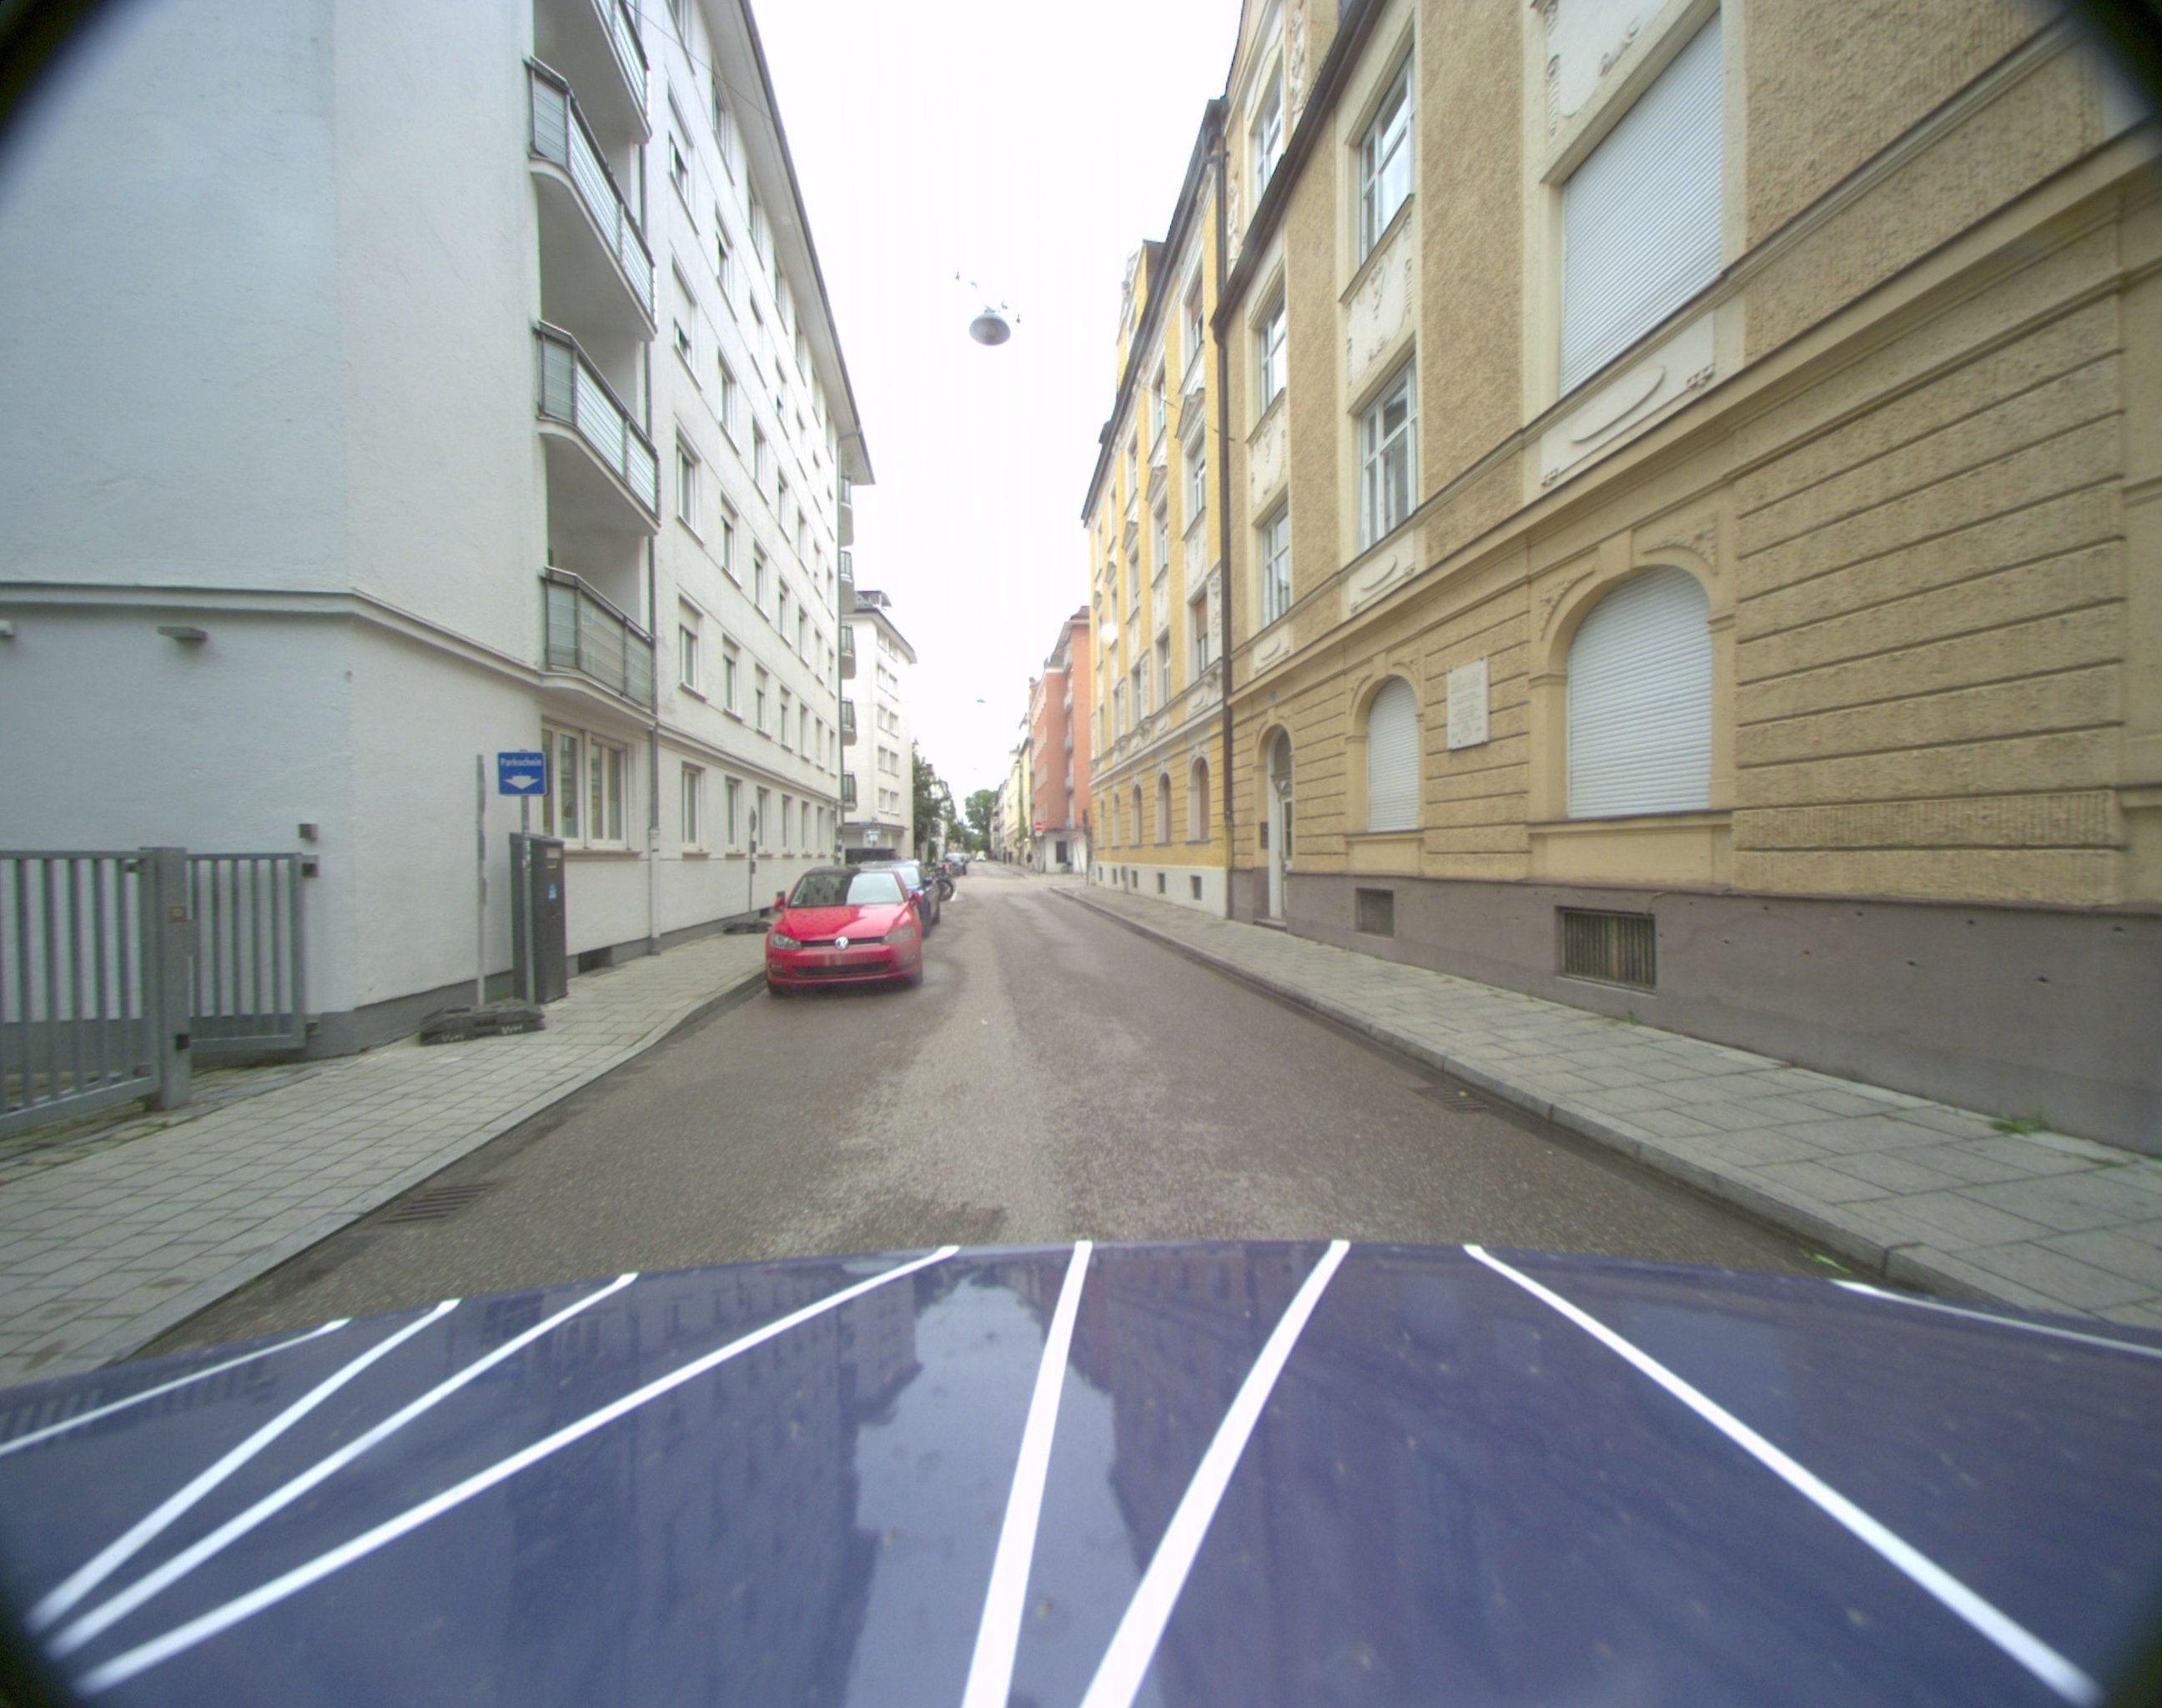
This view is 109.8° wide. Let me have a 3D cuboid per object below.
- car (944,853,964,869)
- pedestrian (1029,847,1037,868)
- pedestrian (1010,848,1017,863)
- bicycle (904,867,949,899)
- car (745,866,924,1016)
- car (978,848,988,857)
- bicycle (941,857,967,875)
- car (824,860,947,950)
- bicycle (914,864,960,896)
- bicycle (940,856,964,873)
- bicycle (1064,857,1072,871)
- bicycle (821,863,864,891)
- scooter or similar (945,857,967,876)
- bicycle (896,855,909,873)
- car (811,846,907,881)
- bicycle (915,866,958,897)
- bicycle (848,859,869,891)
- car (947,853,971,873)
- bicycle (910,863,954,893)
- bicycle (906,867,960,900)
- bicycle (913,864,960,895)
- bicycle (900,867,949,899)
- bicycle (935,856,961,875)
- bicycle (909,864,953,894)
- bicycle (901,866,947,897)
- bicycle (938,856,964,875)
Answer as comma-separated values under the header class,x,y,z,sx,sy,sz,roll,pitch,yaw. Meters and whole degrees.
class,x,y,z,sx,sy,sz,roll,pitch,yaw
car,-11.826,0.622,70.801,1.655,1.390,3.997,0,0,-8
pedestrian,-3.817,0.280,60.525,0.613,1.684,0.565,-1,1,-9
pedestrian,-8.077,0.122,90.806,0.700,1.783,0.763,0,1,-7
bicycle,-5.210,0.975,25.610,1.439,1.037,0.330,1,1,0
car,-3.131,0.948,10.252,1.767,1.438,4.293,-2,1,-14
car,-20.521,-0.278,158.963,1.931,1.794,4.440,-1,0,-8
bicycle,-8.315,0.776,49.848,1.609,1.207,0.529,0,1,-5
car,-3.798,0.907,15.488,1.800,1.430,4.380,-2,1,-7
bicycle,-5.399,0.975,28.531,1.701,1.154,0.378,-1,1,-9
bicycle,-9.042,0.742,53.329,1.609,1.207,0.529,0,1,-5
bicycle,-0.878,0.682,51.640,0.391,0.932,1.539,0,0,-8
bicycle,-9.072,0.887,28.875,1.503,1.037,0.398,1,1,-26
scooter or similar,-7.964,0.788,48.458,1.341,1.207,0.344,0,1,-5
bicycle,-12.172,0.652,51.825,0.529,1.207,1.609,0,1,0
car,-12.175,0.520,41.843,4.679,1.880,1.934,0,0,0
bicycle,-5.118,0.970,26.885,1.442,1.037,0.360,1,1,0
bicycle,-9.009,0.843,30.750,0.400,1.197,1.502,1,1,-33
car,-9.002,0.653,56.206,1.655,1.390,3.997,0,0,-8
bicycle,-5.995,0.950,30.533,1.701,1.154,0.313,-1,1,-9
bicycle,-4.900,0.980,25.183,1.708,1.037,0.360,1,1,-7
bicycle,-5.493,0.971,28.920,1.701,1.154,0.378,-1,1,-9
bicycle,-5.344,0.973,25.957,1.591,1.037,0.323,1,1,1
bicycle,-8.904,0.767,50.910,1.609,1.207,0.529,0,1,-5
bicycle,-5.941,0.972,30.208,1.701,1.154,0.313,-1,1,-9
bicycle,-5.477,0.966,26.494,1.521,1.037,0.360,1,1,0
bicycle,-8.625,0.772,50.381,1.609,1.207,0.529,0,1,-5
